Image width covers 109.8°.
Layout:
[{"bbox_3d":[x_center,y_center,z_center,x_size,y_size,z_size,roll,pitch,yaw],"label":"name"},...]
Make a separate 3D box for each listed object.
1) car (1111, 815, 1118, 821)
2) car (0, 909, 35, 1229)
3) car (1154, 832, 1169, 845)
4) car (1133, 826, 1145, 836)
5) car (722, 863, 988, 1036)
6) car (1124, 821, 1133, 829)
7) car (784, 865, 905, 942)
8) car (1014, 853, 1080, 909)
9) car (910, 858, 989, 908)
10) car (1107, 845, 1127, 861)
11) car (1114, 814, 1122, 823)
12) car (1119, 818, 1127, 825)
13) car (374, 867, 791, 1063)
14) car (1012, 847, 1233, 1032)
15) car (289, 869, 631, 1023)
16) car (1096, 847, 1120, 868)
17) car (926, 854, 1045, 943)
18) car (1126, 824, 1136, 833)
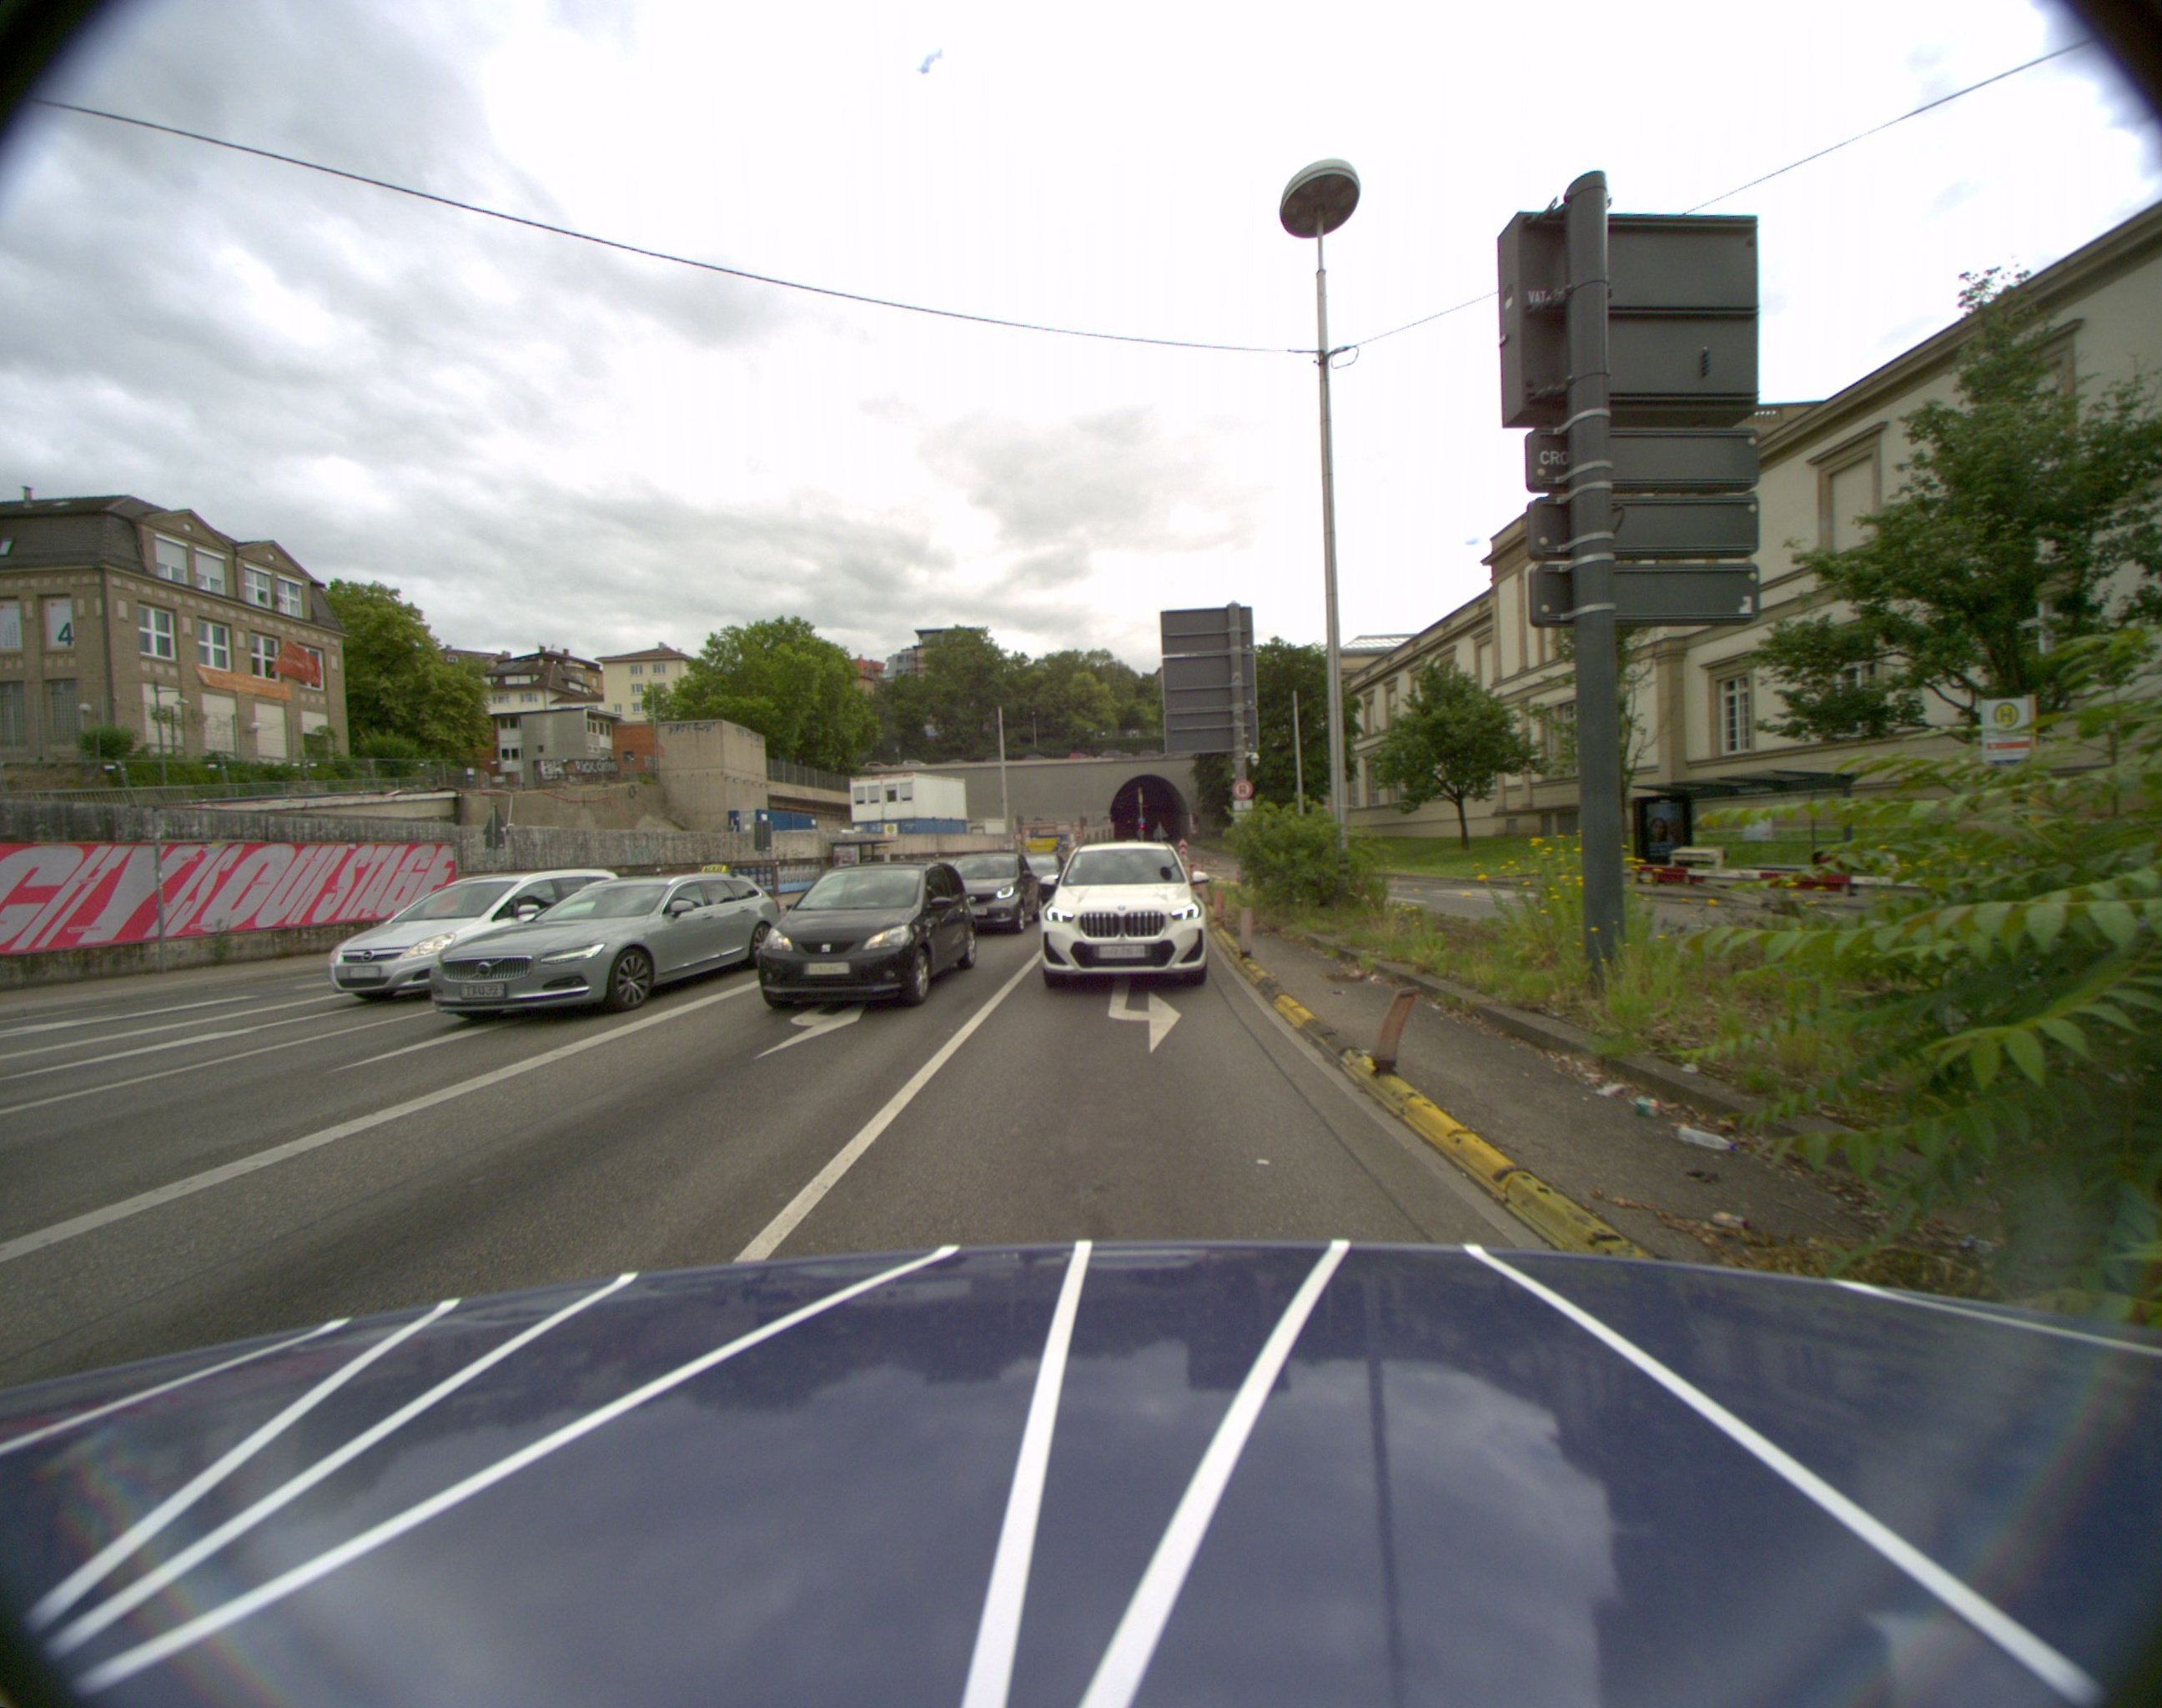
[{"bbox_3d":[10.864,-11.649,247.395,1.946,1.714,4.001,-2,1,6],"label":"car"},{"bbox_3d":[-6.431,1.167,1.988,1.680,1.616,4.000,-2,1,3],"label":"car"},{"bbox_3d":[11.366,-2.173,107.165,1.836,1.736,4.000,-2,1,3],"label":"car"},{"bbox_3d":[10.724,-4.273,140.050,1.902,1.615,4.110,-2,0,8],"label":"car"},{"bbox_3d":[-2.351,0.923,8.976,1.828,1.450,3.700,-2,1,3],"label":"car"},{"bbox_3d":[11.056,-6.739,176.864,1.903,1.615,4.108,-2,0,2],"label":"car"},{"bbox_3d":[-5.094,1.022,16.700,1.665,1.423,2.714,-2,1,3],"label":"car"},{"bbox_3d":[-0.985,0.776,23.733,1.680,1.450,3.807,-2,1,3],"label":"car"},{"bbox_3d":[-4.183,0.890,24.699,1.680,1.358,3.807,-2,1,3],"label":"car"},{"bbox_3d":[3.299,-0.134,69.682,1.680,1.358,3.807,-2,1,3],"label":"car"},{"bbox_3d":[10.724,-10.266,221.096,2.203,2.493,4.758,-2,1,4],"label":"car"},{"bbox_3d":[10.817,-8.480,197.073,1.778,1.609,3.803,-2,1,1],"label":"car"},{"bbox_3d":[-5.612,1.091,9.552,1.828,1.616,4.808,-2,1,3],"label":"car"},{"bbox_3d":[0.463,0.779,8.852,1.987,1.616,3.670,-2,1,3],"label":"car"},{"bbox_3d":[-8.819,1.169,11.389,1.680,1.616,4.207,-4,1,-3],"label":"car"},{"bbox_3d":[2.005,0.238,55.825,1.680,1.358,3.807,-2,1,3],"label":"car"},{"bbox_3d":[-1.816,0.805,15.493,1.720,1.535,3.575,-2,0,4],"label":"car"},{"bbox_3d":[10.584,-5.366,161.548,1.903,1.615,4.108,-2,0,2],"label":"car"}]
